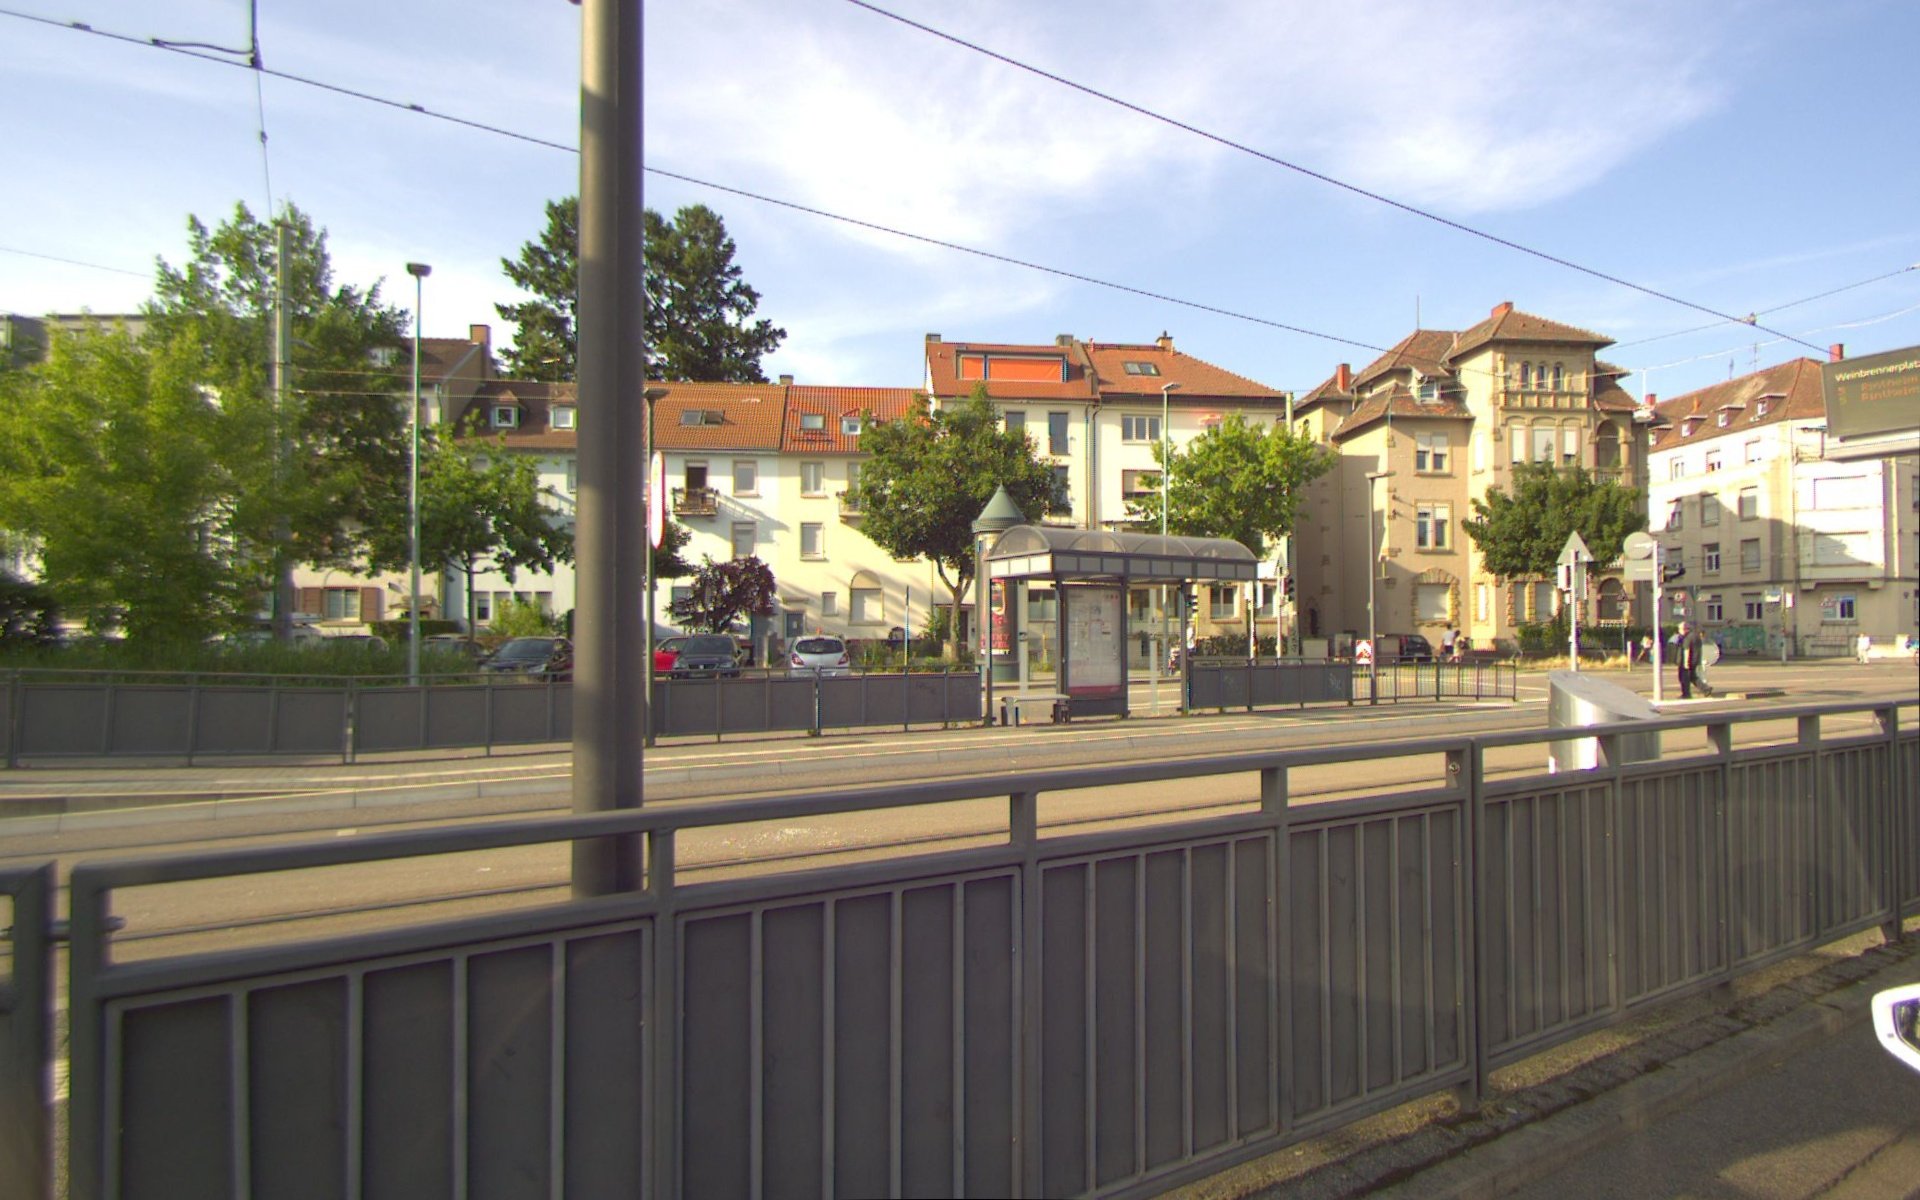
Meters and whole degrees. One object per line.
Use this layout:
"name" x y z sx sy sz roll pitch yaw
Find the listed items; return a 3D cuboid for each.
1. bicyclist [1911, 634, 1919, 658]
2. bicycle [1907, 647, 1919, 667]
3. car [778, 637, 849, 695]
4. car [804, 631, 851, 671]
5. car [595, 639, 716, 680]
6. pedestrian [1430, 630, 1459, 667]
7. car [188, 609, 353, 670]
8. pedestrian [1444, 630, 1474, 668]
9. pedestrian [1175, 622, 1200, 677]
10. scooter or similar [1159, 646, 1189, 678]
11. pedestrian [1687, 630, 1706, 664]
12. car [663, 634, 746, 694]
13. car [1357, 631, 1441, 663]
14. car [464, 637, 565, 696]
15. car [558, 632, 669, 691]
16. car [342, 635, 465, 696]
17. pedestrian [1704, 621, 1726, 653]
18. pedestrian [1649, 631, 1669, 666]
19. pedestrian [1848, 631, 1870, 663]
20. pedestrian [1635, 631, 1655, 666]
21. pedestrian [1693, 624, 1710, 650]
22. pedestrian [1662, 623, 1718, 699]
"bicyclist" 42.223 2.002 44.113 0.671 1.058 0.510 1 -2 -30
"bicycle" 42.238 2.504 44.107 1.666 0.845 0.523 1 -2 -31
"car" -4.079 1.780 27.999 1.815 1.505 3.995 0 -2 -9
"car" -5.804 2.216 44.380 1.962 1.684 3.997 0 -2 -6
"car" -10.965 2.141 36.416 3.927 1.416 1.836 0 -2 -9
"pedestrian" 20.856 2.064 43.253 0.768 1.572 0.831 0 -2 -8
"car" -18.379 1.060 27.039 1.813 1.505 3.999 0 -2 -3
"pedestrian" 21.045 2.059 42.389 0.768 1.572 0.831 0 -2 -8
"pedestrian" 7.405 1.609 32.715 0.540 1.769 0.760 -1 -2 37
"scooter or similar" 6.818 1.971 32.020 0.549 1.001 1.019 -1 -2 37
"pedestrian" 32.942 2.106 44.942 0.382 1.520 0.535 0 -2 -15
"car" -6.896 1.698 27.459 1.815 1.505 3.995 0 -2 -9
"car" 20.622 2.184 47.326 1.732 1.327 4.111 2 0 -7
"car" -11.612 1.692 26.422 1.968 1.416 3.985 0 -2 -18
"car" -9.346 1.631 27.439 1.813 1.505 3.999 0 -2 -3
"car" -14.133 1.618 25.759 1.968 1.416 3.985 0 -2 -18
"pedestrian" 48.899 2.385 65.055 0.773 2.040 0.775 0 -2 -15
"pedestrian" 30.651 2.129 44.056 0.540 1.520 0.437 0 -2 -15
"pedestrian" 44.183 2.315 49.368 0.702 1.561 0.626 1 -2 -30
"pedestrian" 30.022 2.132 44.014 0.540 1.520 0.437 0 -2 -15
"pedestrian" 47.935 2.368 64.958 0.576 1.682 0.620 0 -2 -15
"pedestrian" 16.452 1.366 22.663 0.778 1.667 0.757 -1 -2 16
